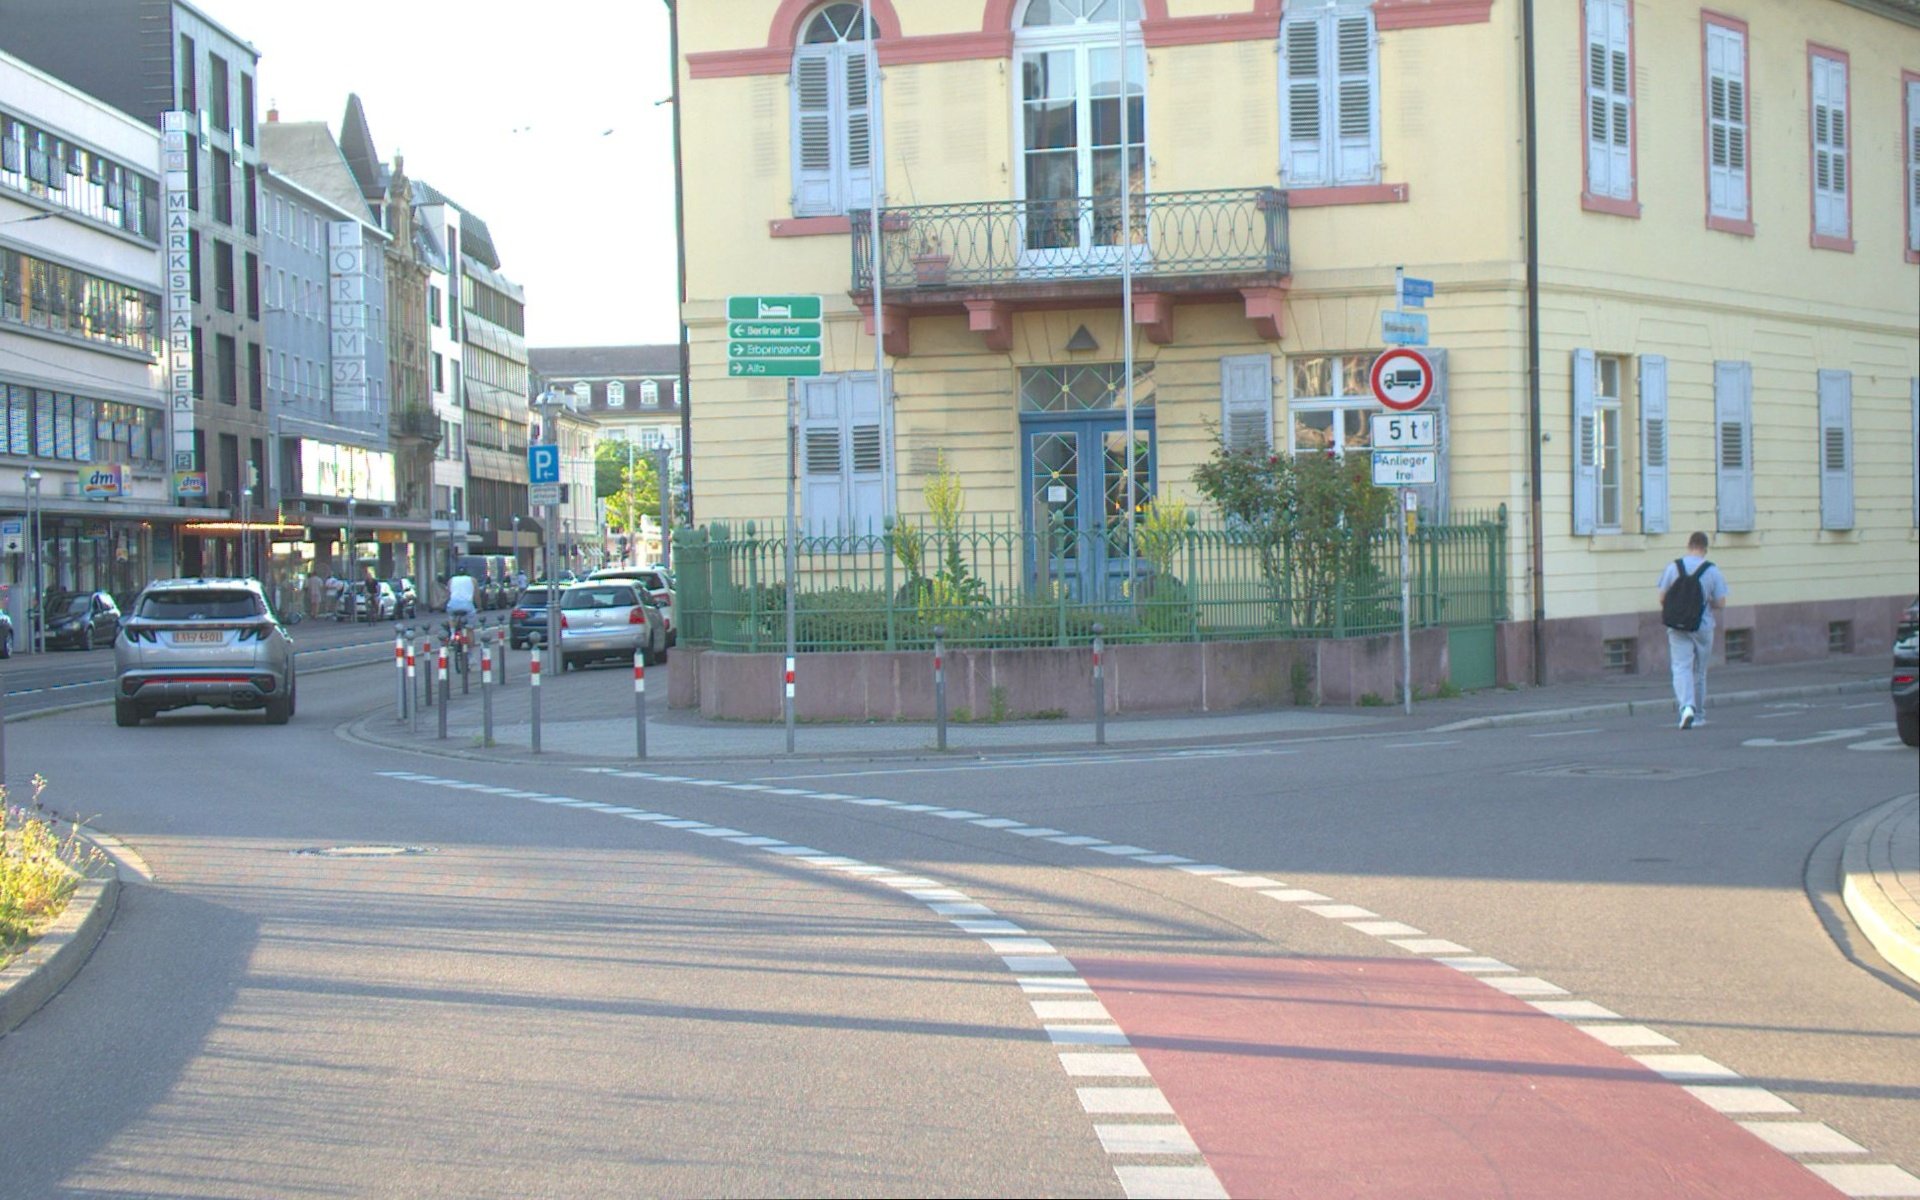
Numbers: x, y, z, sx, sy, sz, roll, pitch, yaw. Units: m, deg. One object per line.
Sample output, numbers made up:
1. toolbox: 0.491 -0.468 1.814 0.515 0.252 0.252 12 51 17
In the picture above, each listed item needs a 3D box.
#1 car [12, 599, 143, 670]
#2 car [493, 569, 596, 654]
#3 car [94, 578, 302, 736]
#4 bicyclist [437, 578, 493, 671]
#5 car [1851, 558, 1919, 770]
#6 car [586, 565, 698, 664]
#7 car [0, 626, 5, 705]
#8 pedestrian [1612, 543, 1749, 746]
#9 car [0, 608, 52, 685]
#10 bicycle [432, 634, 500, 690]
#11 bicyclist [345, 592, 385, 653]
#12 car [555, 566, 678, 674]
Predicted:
1. car: -21.972 0.847 85.713 1.994 1.660 4.000 -1 1 4
2. car: -9.236 0.229 76.695 1.808 1.802 4.000 -1 1 -1
3. car: -8.645 0.602 39.336 1.943 1.655 4.537 -1 1 -8
4. bicyclist: -8.485 0.419 58.929 0.829 1.563 0.787 -1 0 -1
5. car: 8.516 0.427 26.767 1.781 1.538 4.283 -1 1 33
6. car: -5.722 0.244 62.133 1.732 1.702 3.806 -1 1 -1
7. car: -21.426 1.397 70.787 1.994 1.660 4.638 0 0 4
8. pedestrian: 6.259 0.374 29.851 0.878 1.718 0.827 0 1 39
9. car: -21.948 1.041 76.885 1.994 1.660 4.000 -1 0 4
10. bicycle: -8.437 1.052 58.799 0.829 0.867 2.550 -1 1 -1
11. bicyclist: -20.101 0.749 116.068 1.166 2.007 1.045 -1 0 -2
12. car: -5.657 0.317 56.934 1.732 1.702 3.439 -1 0 -1
